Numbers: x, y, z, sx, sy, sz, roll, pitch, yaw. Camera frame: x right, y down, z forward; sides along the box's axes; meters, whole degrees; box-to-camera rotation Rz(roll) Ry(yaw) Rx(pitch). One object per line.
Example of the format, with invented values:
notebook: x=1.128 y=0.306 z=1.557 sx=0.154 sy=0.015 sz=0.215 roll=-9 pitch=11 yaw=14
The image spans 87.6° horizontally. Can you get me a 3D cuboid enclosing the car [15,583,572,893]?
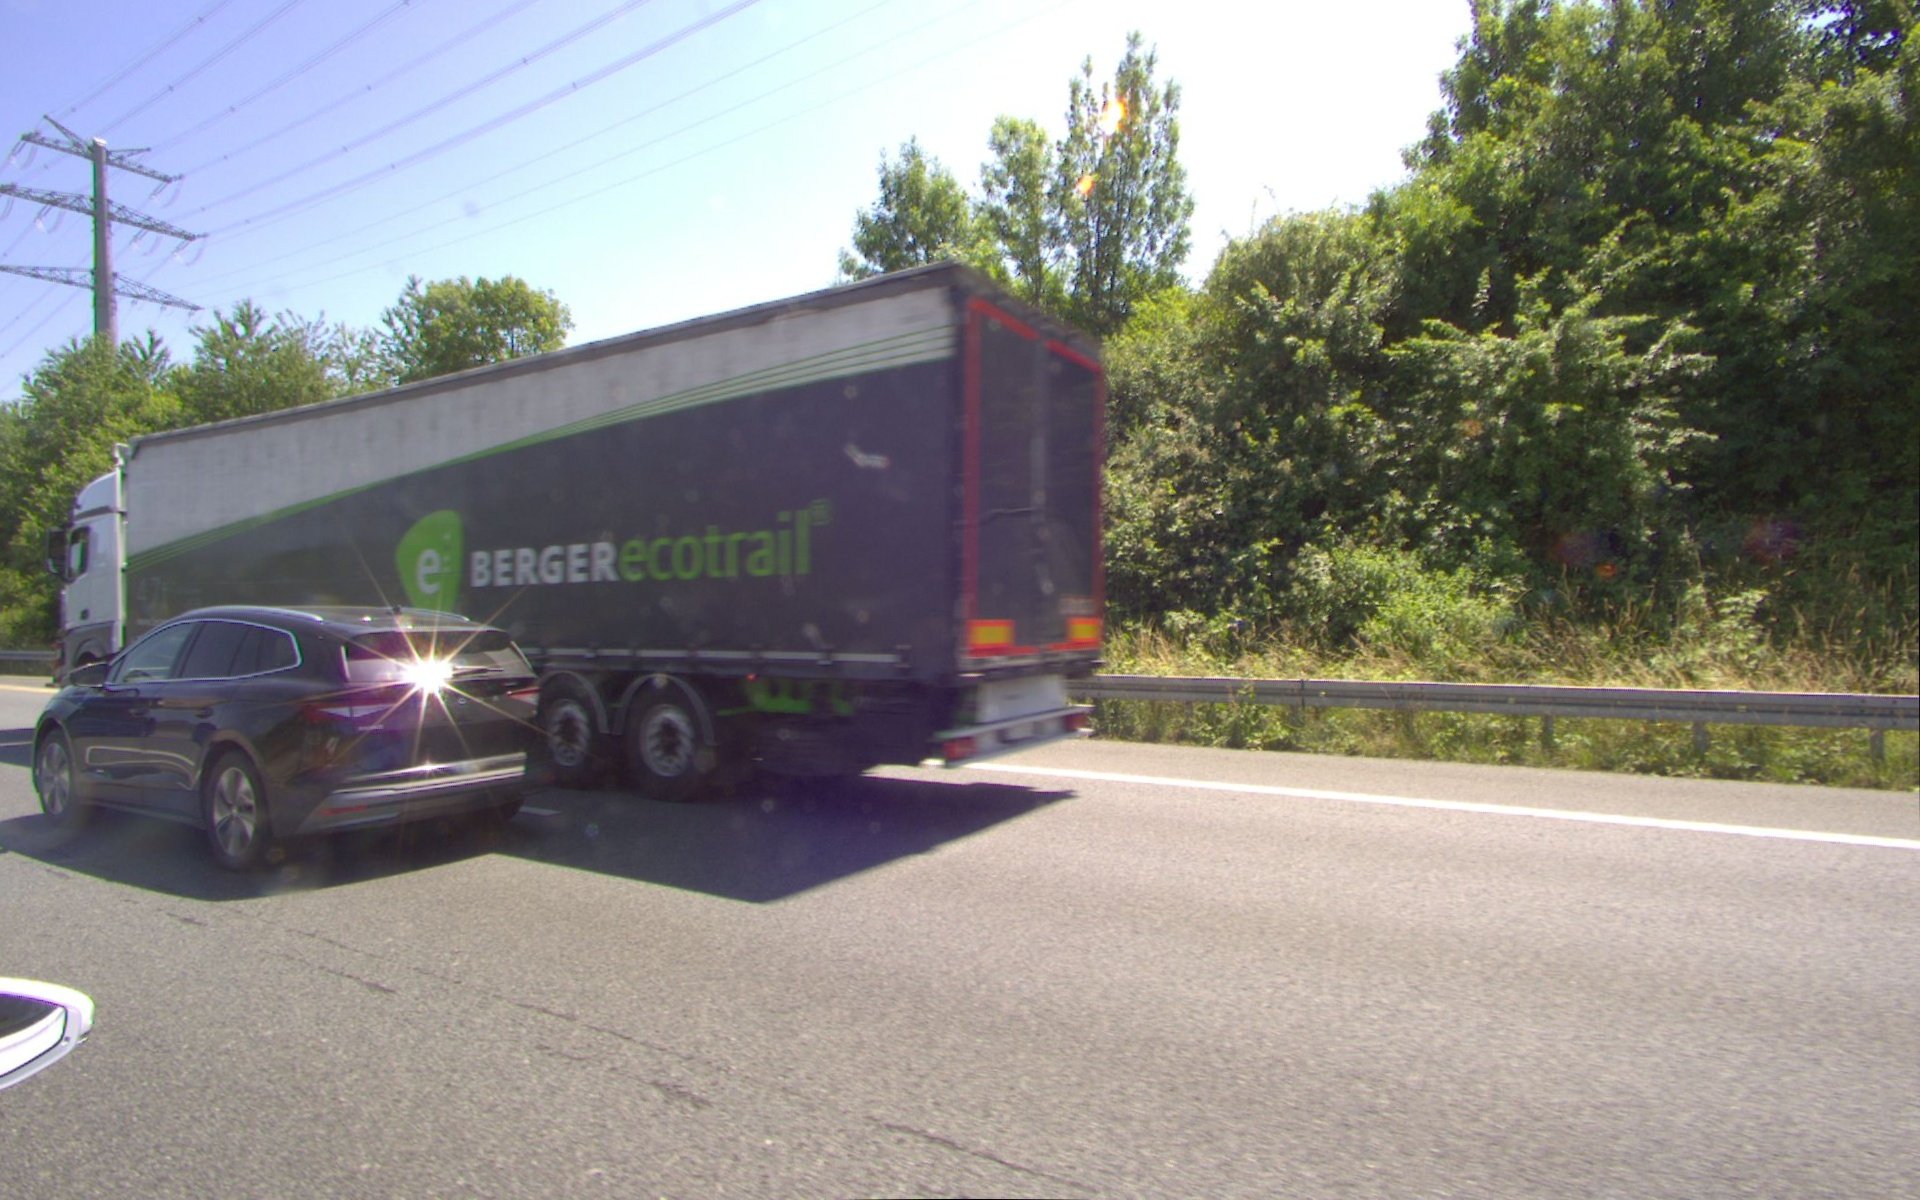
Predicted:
car: x=-4.960 y=0.814 z=7.287 sx=4.365 sy=1.676 sz=1.698 roll=-1 pitch=-2 yaw=31

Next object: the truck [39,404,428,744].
truck: x=-10.790 y=-0.219 z=14.783 sx=5.711 sy=4.099 sz=2.728 roll=-1 pitch=-2 yaw=32

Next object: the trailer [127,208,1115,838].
trailer: x=-4.838 y=-0.339 z=11.094 sx=12.922 sy=4.099 sz=2.779 roll=-1 pitch=-2 yaw=32
